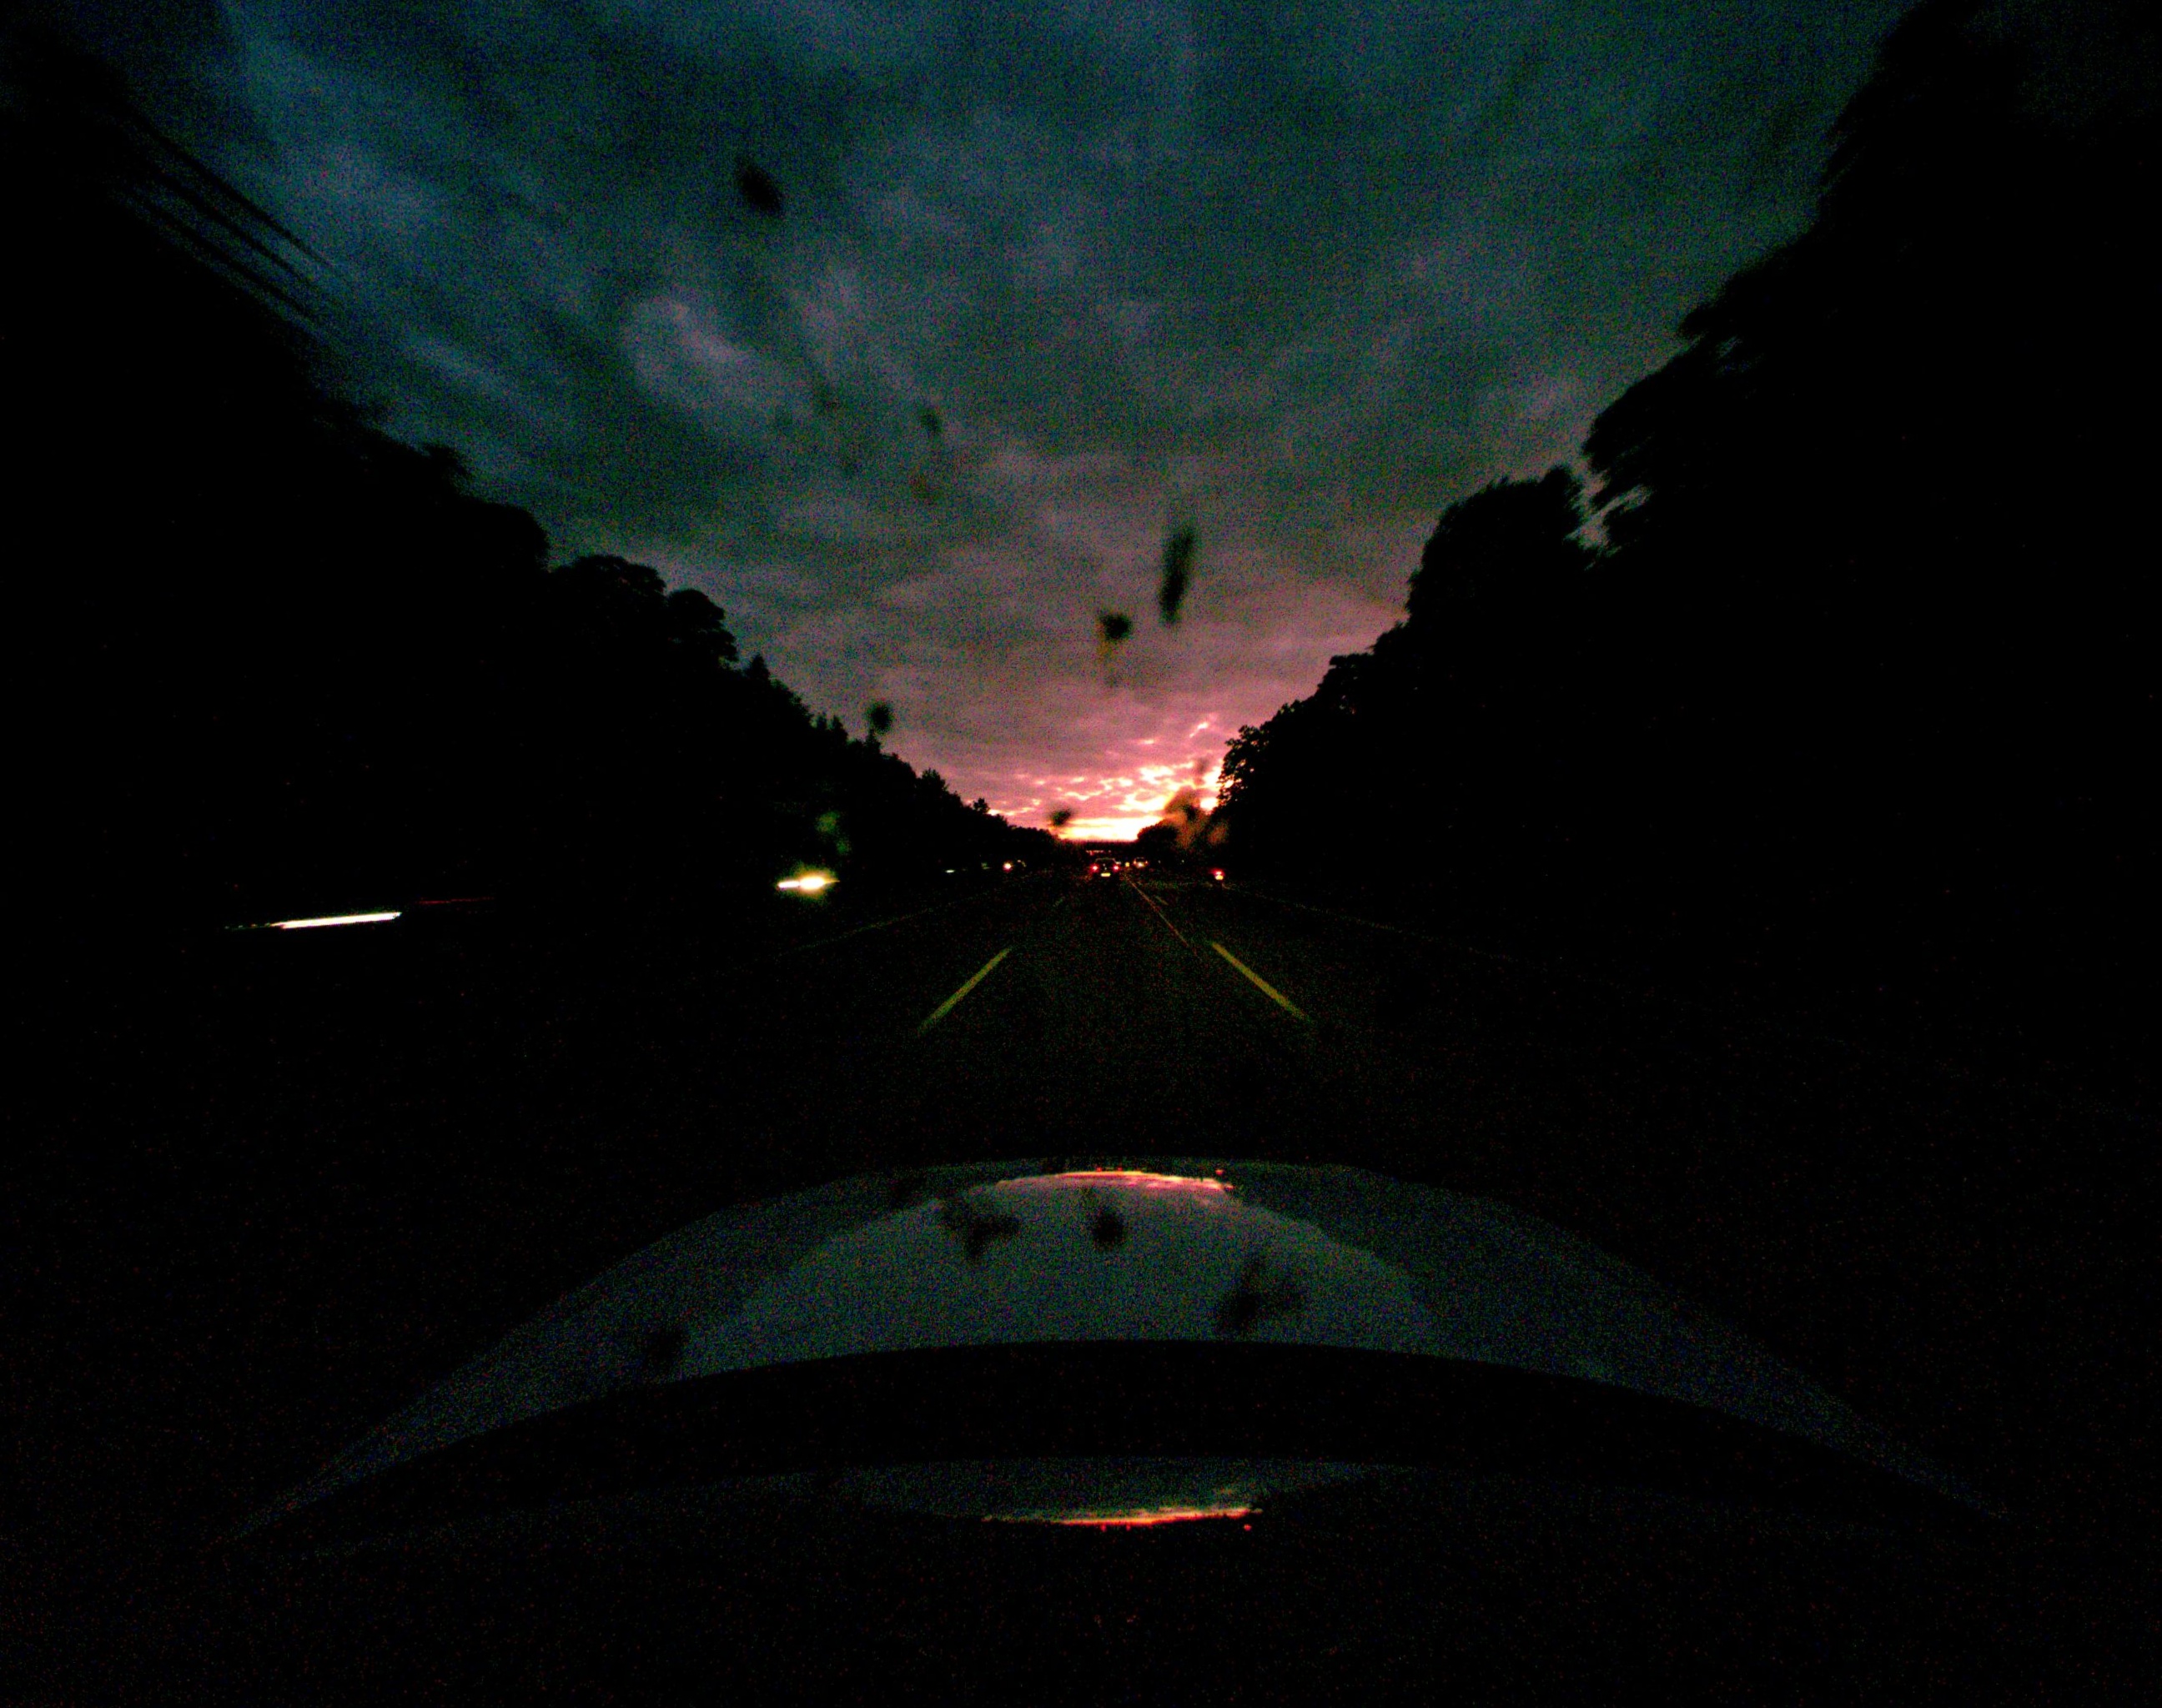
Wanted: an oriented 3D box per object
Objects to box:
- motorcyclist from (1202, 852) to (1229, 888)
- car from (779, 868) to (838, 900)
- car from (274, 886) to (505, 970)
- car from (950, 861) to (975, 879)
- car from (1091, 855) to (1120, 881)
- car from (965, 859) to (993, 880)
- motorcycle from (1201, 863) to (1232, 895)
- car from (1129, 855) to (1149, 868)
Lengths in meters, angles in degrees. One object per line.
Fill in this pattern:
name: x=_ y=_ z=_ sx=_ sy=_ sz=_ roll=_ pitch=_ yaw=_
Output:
motorcyclist: x=5.093 y=0.589 z=30.802 sx=0.826 sy=1.291 sz=1.190 roll=-1 pitch=0 yaw=2
car: x=-17.168 y=1.858 z=51.635 sx=1.910 sy=1.765 sz=5.009 roll=-2 pitch=0 yaw=1
car: x=-18.215 y=1.851 z=21.875 sx=1.911 sy=1.765 sz=5.007 roll=-2 pitch=0 yaw=-1
car: x=-12.175 y=1.612 z=83.907 sx=1.911 sy=1.765 sz=5.007 roll=-2 pitch=0 yaw=-1
car: x=1.488 y=0.826 z=49.803 sx=1.697 sy=1.509 sz=4.233 roll=0 pitch=-1 yaw=2
car: x=-9.372 y=1.394 z=74.921 sx=1.911 sy=1.765 sz=5.007 roll=-2 pitch=0 yaw=-1
motorcycle: x=5.103 y=0.925 z=30.855 sx=0.826 sy=1.134 sz=2.477 roll=-1 pitch=0 yaw=2
car: x=6.756 y=0.876 z=95.073 sx=1.861 sy=1.494 sz=4.394 roll=0 pitch=-1 yaw=-2
